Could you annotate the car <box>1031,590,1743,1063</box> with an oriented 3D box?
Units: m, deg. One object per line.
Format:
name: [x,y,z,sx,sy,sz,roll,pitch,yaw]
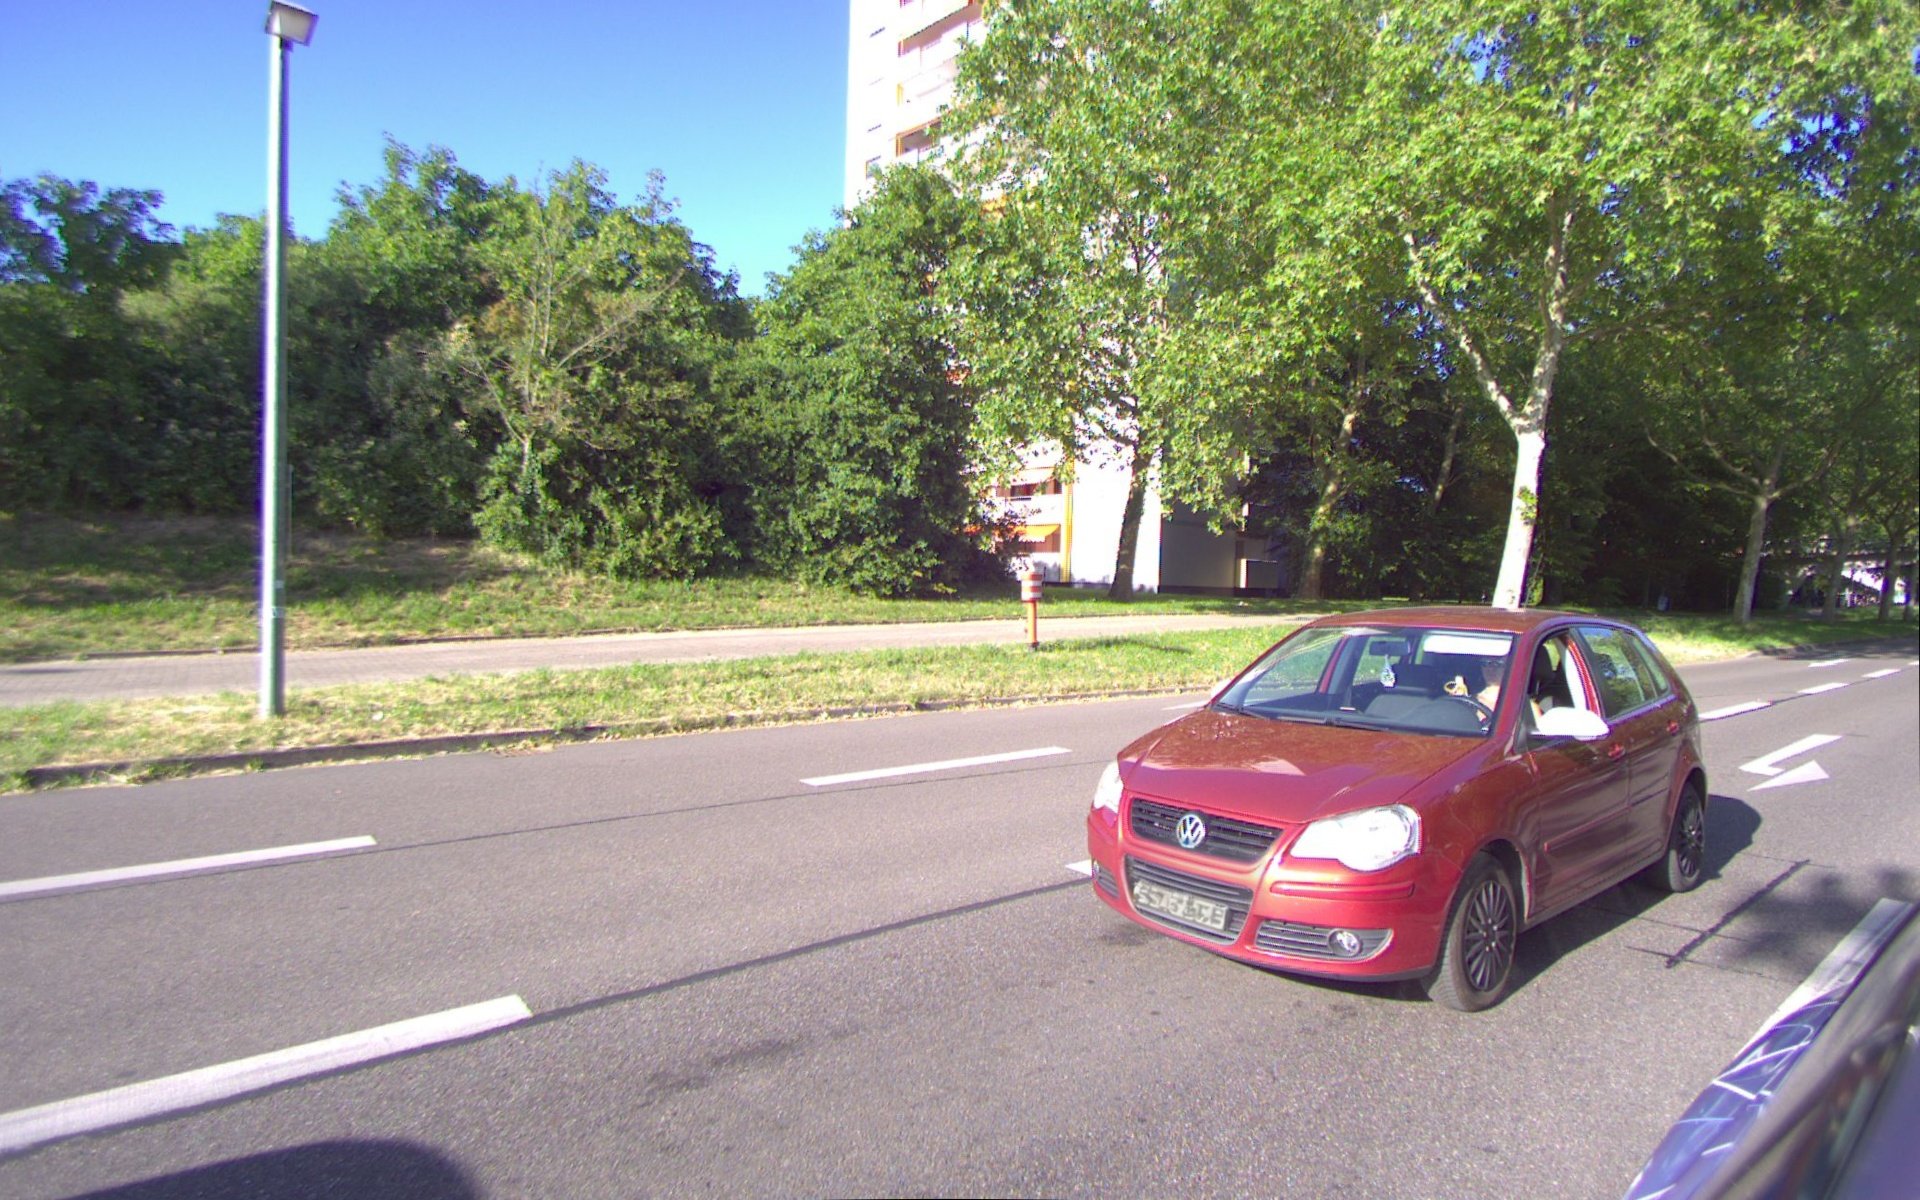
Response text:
car: [2.265,0.689,4.955,3.692,1.456,1.646,-1,1,-38]
